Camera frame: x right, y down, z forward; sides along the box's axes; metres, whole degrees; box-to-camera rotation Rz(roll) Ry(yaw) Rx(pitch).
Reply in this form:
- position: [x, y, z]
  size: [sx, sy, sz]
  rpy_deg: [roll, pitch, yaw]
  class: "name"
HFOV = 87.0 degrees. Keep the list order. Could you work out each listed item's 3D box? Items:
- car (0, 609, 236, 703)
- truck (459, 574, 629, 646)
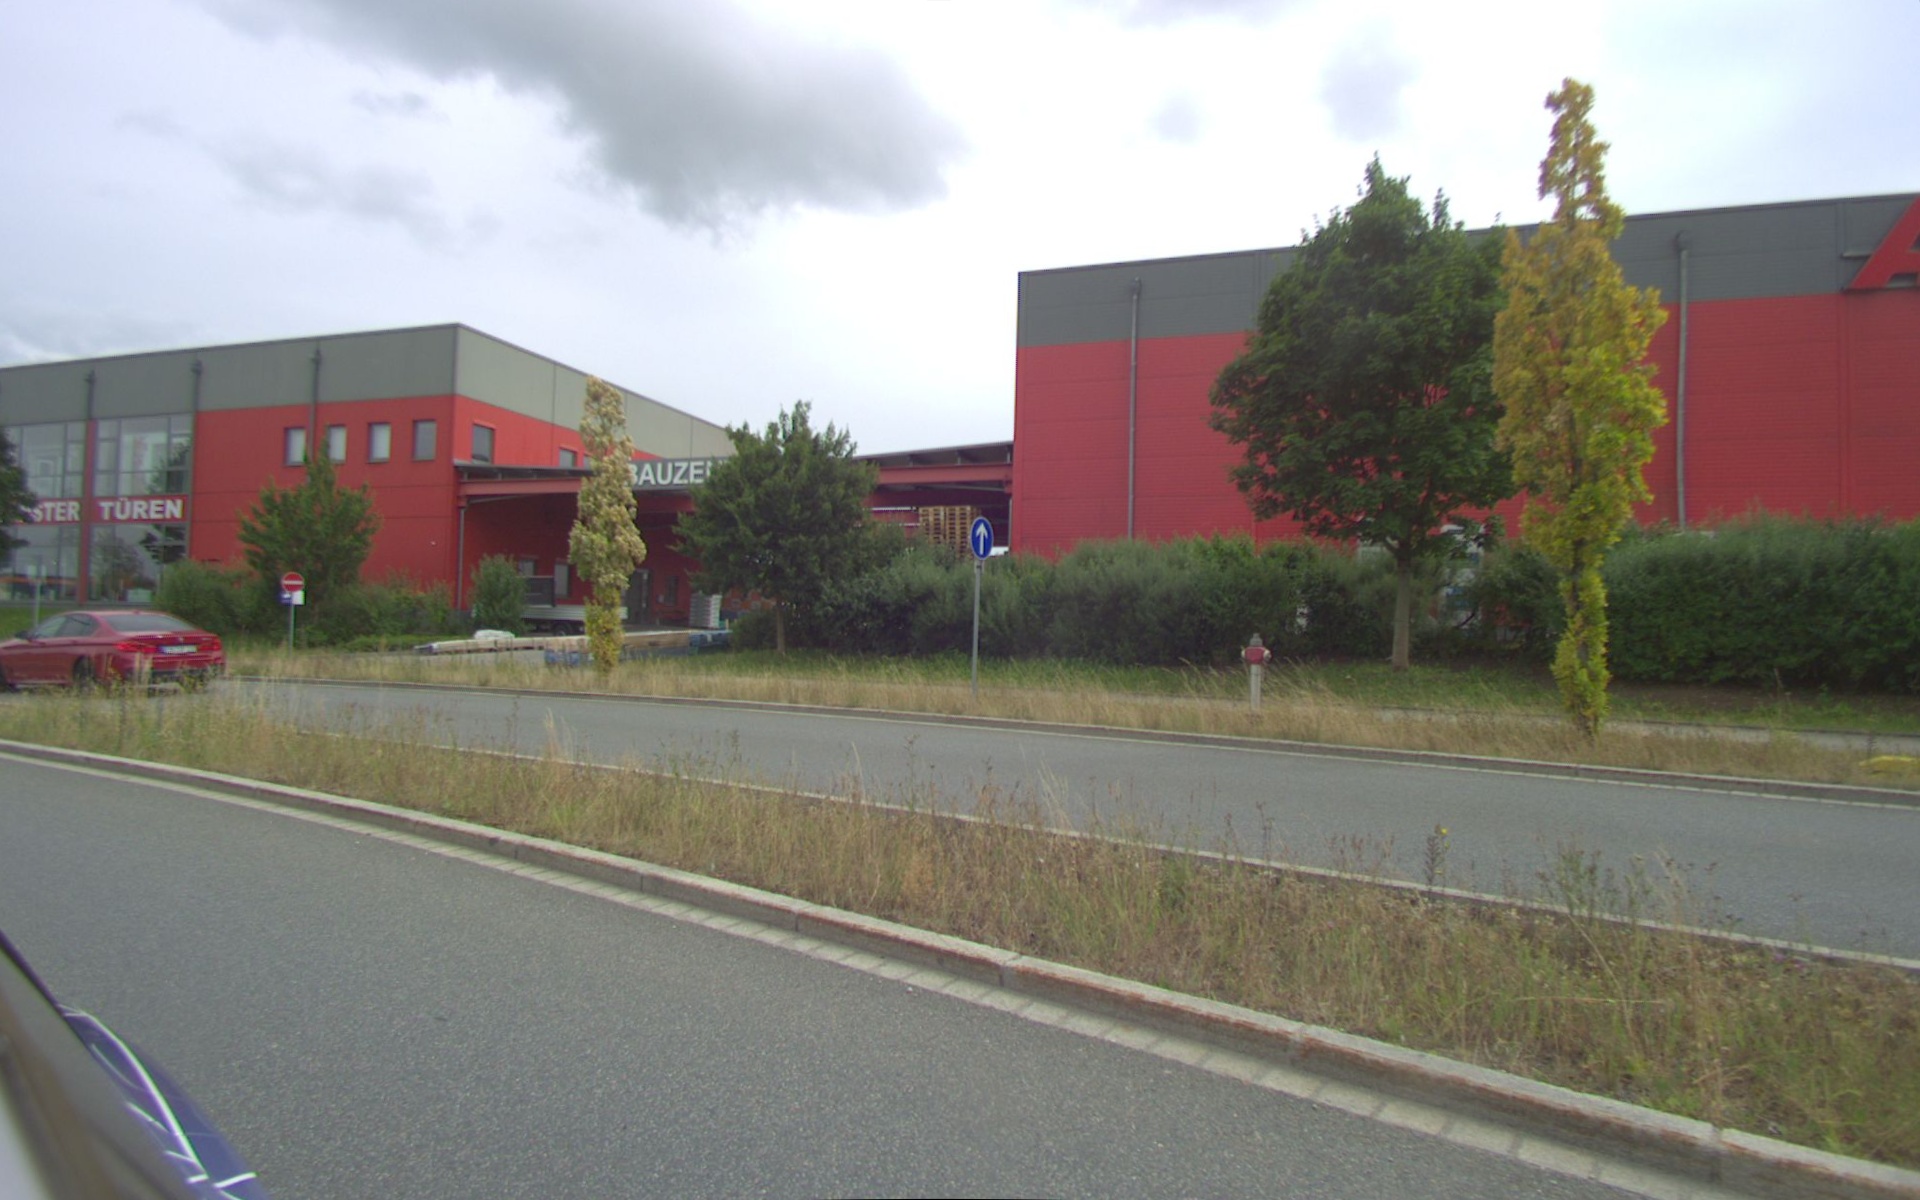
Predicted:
- position: [-15.465, 0.927, 18.114]
  size: [4.940, 1.458, 1.783]
  rpy_deg: [0, 1, 23]
  class: "car"
- position: [-15.302, 0.350, 37.214]
  size: [5.858, 2.506, 2.028]
  rpy_deg: [0, -1, 18]
  class: "truck"
